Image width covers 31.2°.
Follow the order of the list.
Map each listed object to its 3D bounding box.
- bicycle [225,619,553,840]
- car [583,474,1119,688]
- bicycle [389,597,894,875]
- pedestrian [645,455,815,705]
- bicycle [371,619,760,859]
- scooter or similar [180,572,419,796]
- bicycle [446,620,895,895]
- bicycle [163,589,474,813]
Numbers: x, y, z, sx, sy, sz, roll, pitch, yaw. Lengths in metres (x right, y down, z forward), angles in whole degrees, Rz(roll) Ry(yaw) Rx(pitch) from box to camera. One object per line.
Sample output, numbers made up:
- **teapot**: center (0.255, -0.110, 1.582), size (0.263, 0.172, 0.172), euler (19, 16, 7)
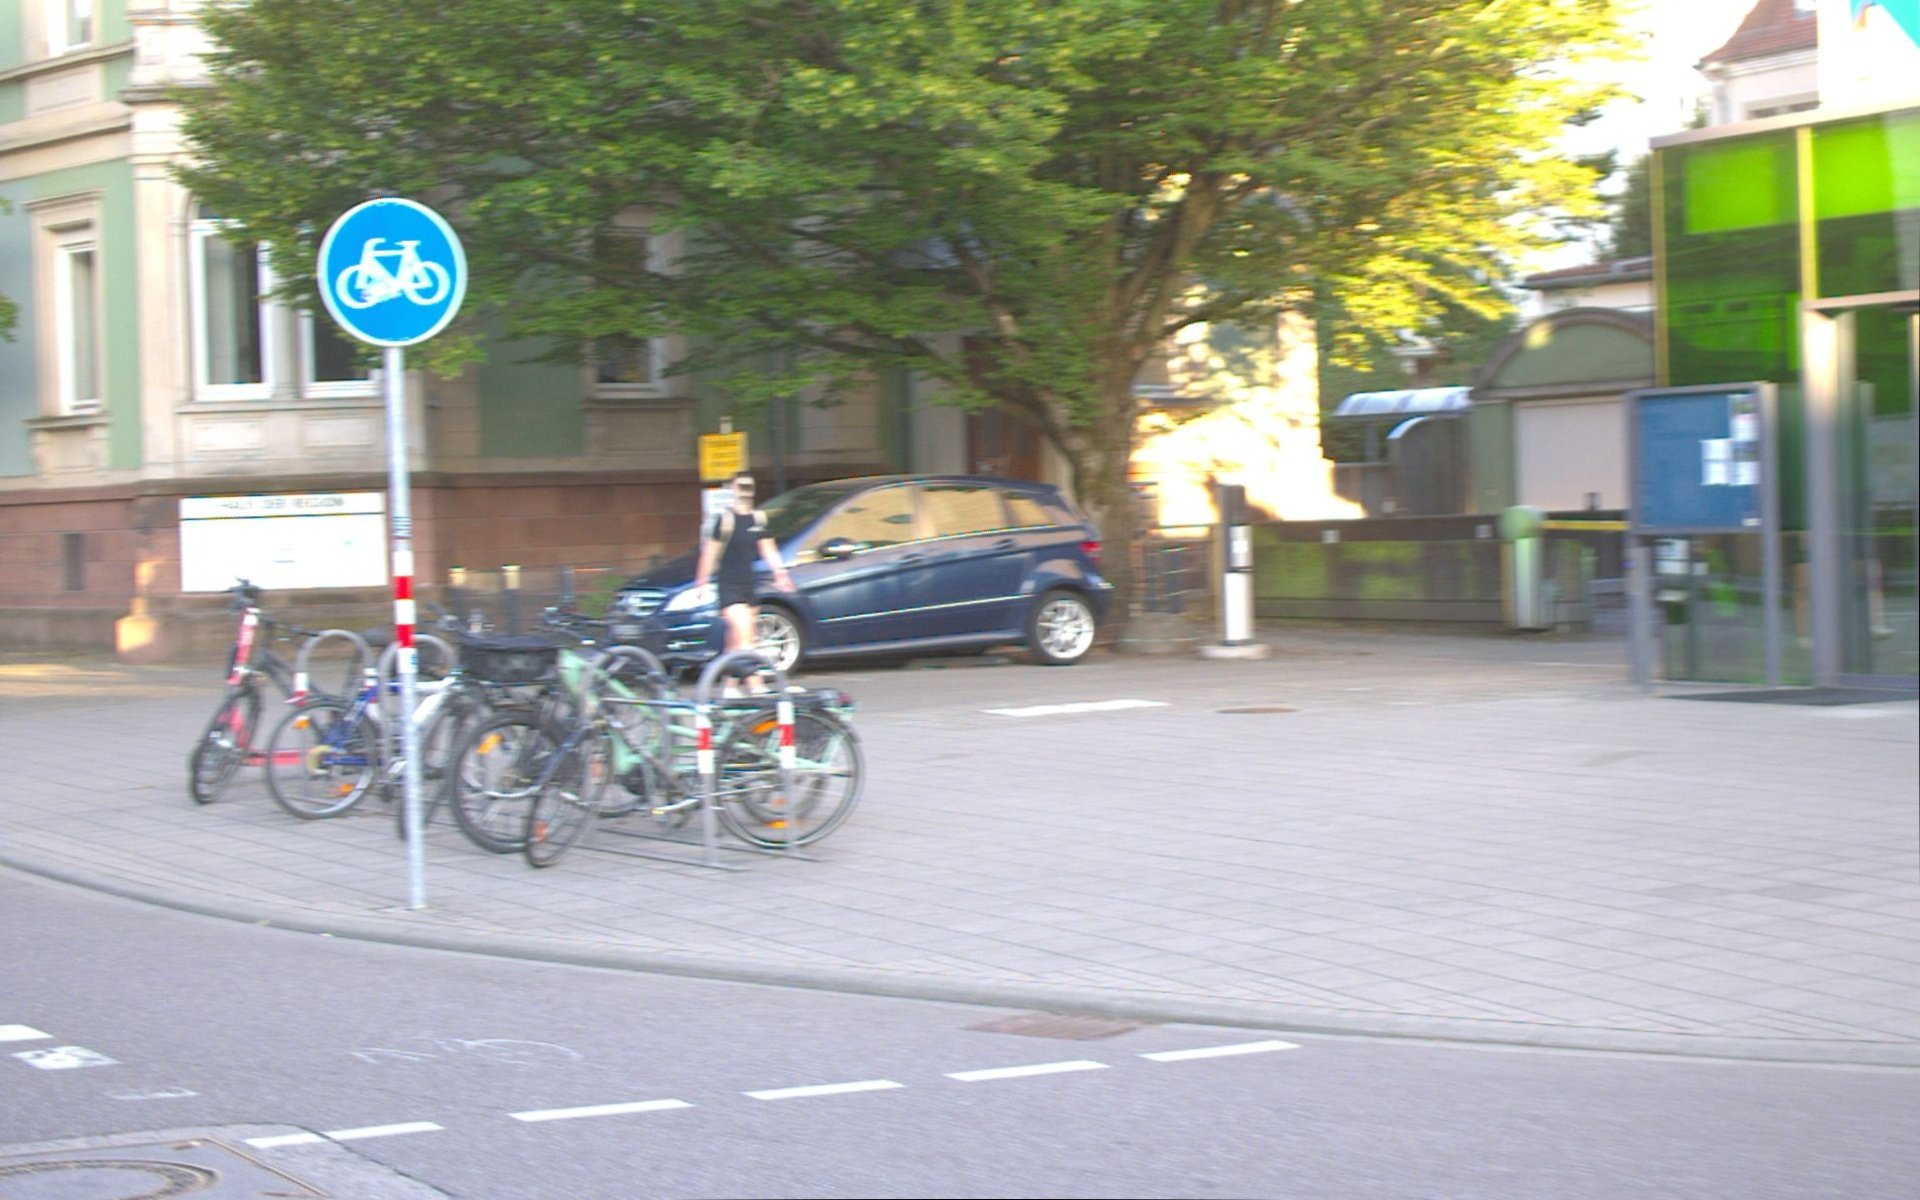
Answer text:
- **bicycle**: center (-3.053, 0.670, 18.399), size (1.551, 1.071, 0.744), euler (-2, 2, -29)
- **car**: center (-0.870, -0.206, 28.106), size (3.984, 1.568, 1.804), euler (-2, 3, -31)
- **bicycle**: center (-1.496, 0.613, 16.329), size (2.230, 1.128, 0.744), euler (-3, 2, -29)
- **pedestrian**: center (-1.667, -0.150, 24.879), size (0.989, 1.762, 0.707), euler (0, 2, 45)
- **bicycle**: center (-1.963, 0.667, 17.150), size (1.755, 1.071, 0.744), euler (-2, 2, -29)
- **scooter or similar**: center (-3.920, 0.479, 20.409), size (1.200, 1.221, 0.591), euler (-4, 3, -30)
- **bicycle**: center (-1.294, 0.678, 15.255), size (1.859, 1.071, 0.744), euler (-3, 2, -13)
- **bicycle**: center (-3.593, 0.543, 19.273), size (1.526, 1.158, 0.744), euler (-2, 2, -29)
